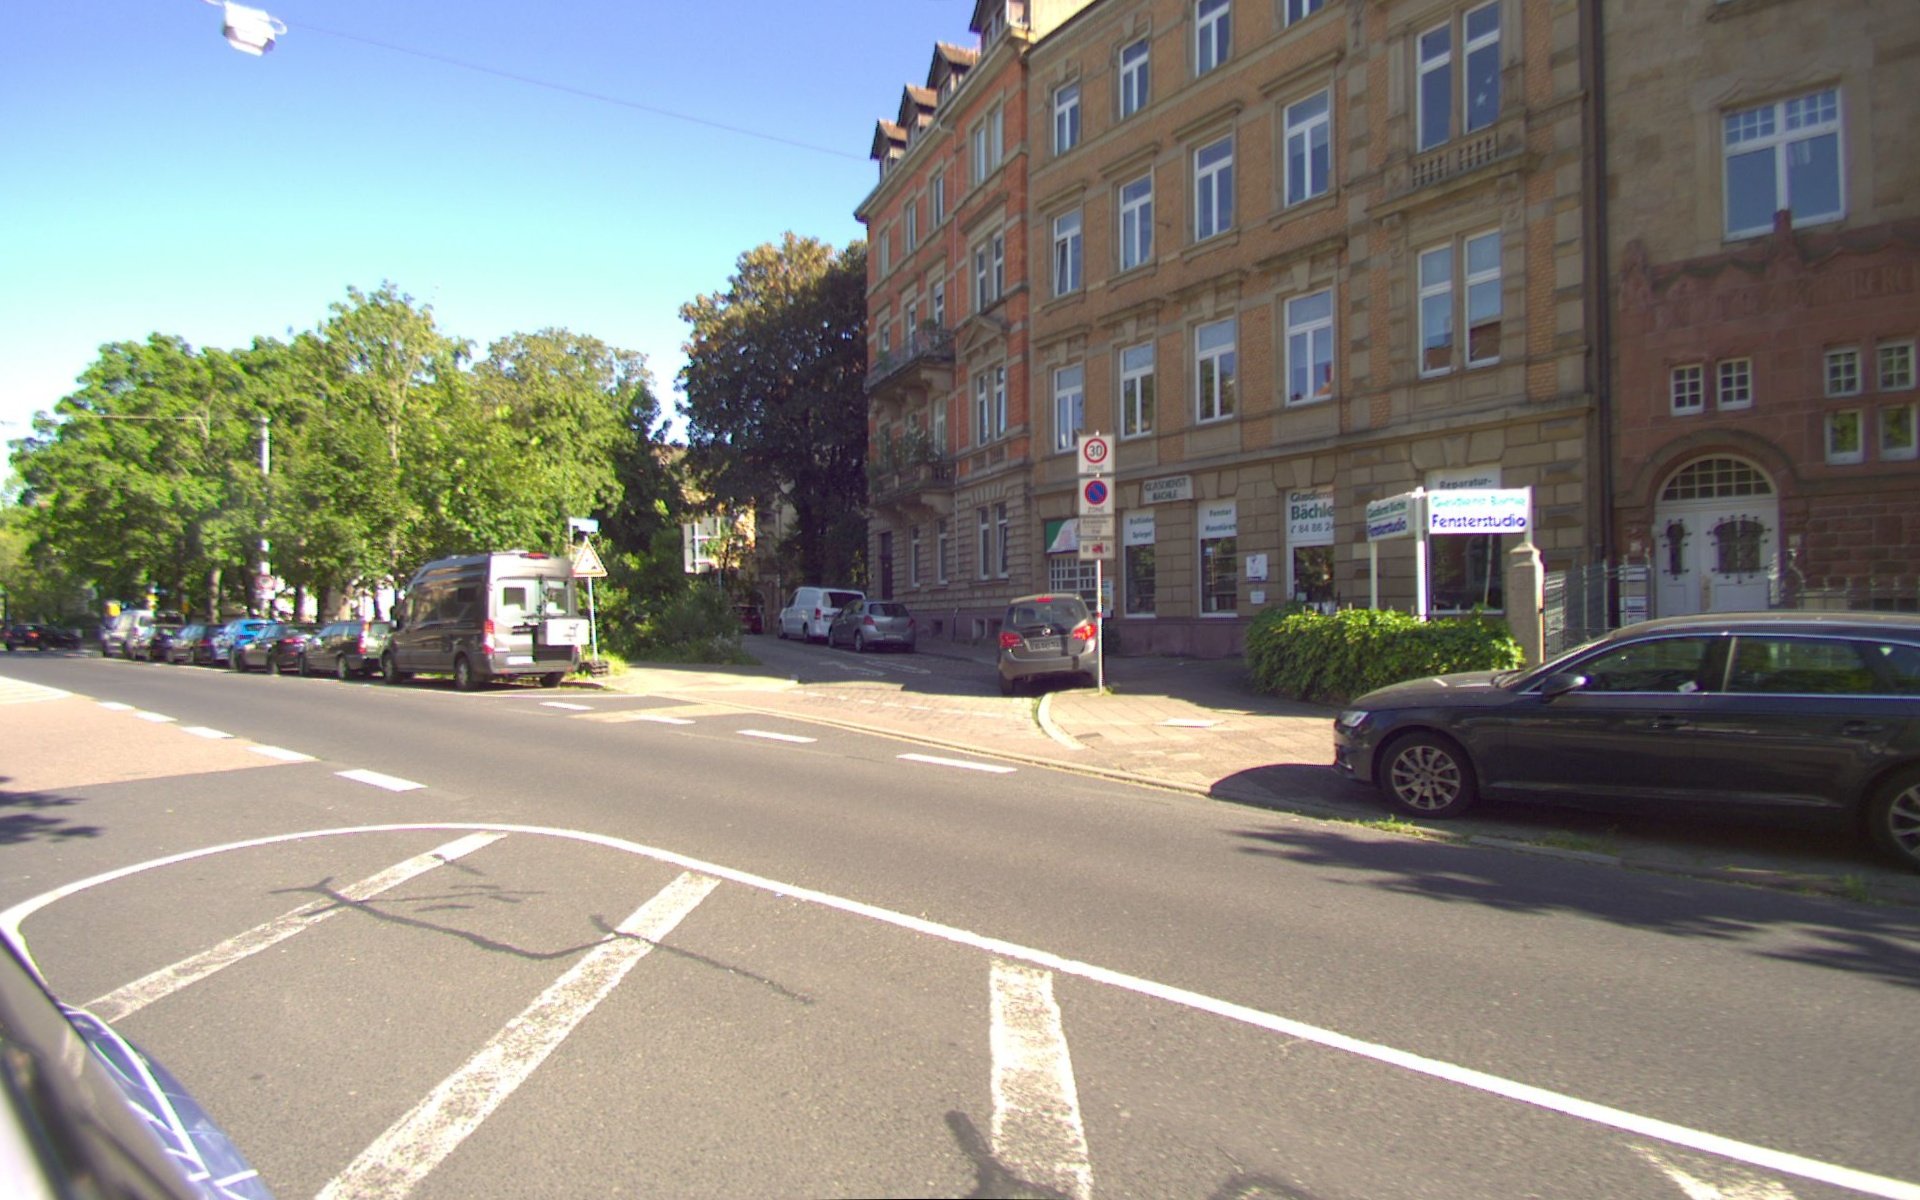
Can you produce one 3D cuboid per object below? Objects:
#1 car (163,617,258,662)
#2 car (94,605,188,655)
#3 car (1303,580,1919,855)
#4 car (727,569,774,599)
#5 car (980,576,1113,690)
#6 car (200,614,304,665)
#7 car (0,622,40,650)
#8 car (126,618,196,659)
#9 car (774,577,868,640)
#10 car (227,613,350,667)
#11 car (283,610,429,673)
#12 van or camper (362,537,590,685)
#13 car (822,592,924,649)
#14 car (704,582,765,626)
[{"bbox_3d":[-26.450,1.367,35.684,4.265,1.493,1.575,-1,-2,38],"label":"car"},{"bbox_3d":[-35.216,1.315,43.472,4.867,2.052,1.965,-1,-4,37],"label":"car"},{"bbox_3d":[5.067,0.658,7.026,4.718,1.438,1.837,-1,2,42],"label":"car"},{"bbox_3d":[-20.458,-1.536,98.579,4.914,2.643,1.869,-2,-2,40],"label":"car"},{"bbox_3d":[1.601,0.474,17.907,1.976,1.682,4.135,-3,1,7],"label":"car"},{"bbox_3d":[-22.970,1.252,32.772,4.557,1.550,1.761,-1,-2,42],"label":"car"},{"bbox_3d":[-51.217,1.919,54.801,4.131,1.461,1.576,-2,-2,41],"label":"car"},{"bbox_3d":[-31.561,1.487,39.951,3.956,1.513,1.449,-1,-2,41],"label":"car"},{"bbox_3d":[-4.724,0.282,33.875,1.833,1.928,4.466,2,-1,-25],"label":"car"},{"bbox_3d":[-19.107,1.129,28.718,4.402,1.424,1.762,-2,-3,41],"label":"car"},{"bbox_3d":[-15.294,1.036,25.538,4.659,1.468,1.677,-2,-3,39],"label":"car"},{"bbox_3d":[-10.569,0.277,21.822,6.084,2.760,2.193,-2,-1,41],"label":"van or camper"},{"bbox_3d":[-2.595,0.576,29.510,1.833,1.524,3.541,2,-1,-25],"label":"car"},{"bbox_3d":[-10.692,0.192,47.762,1.833,1.928,4.466,2,-1,-25],"label":"car"}]
